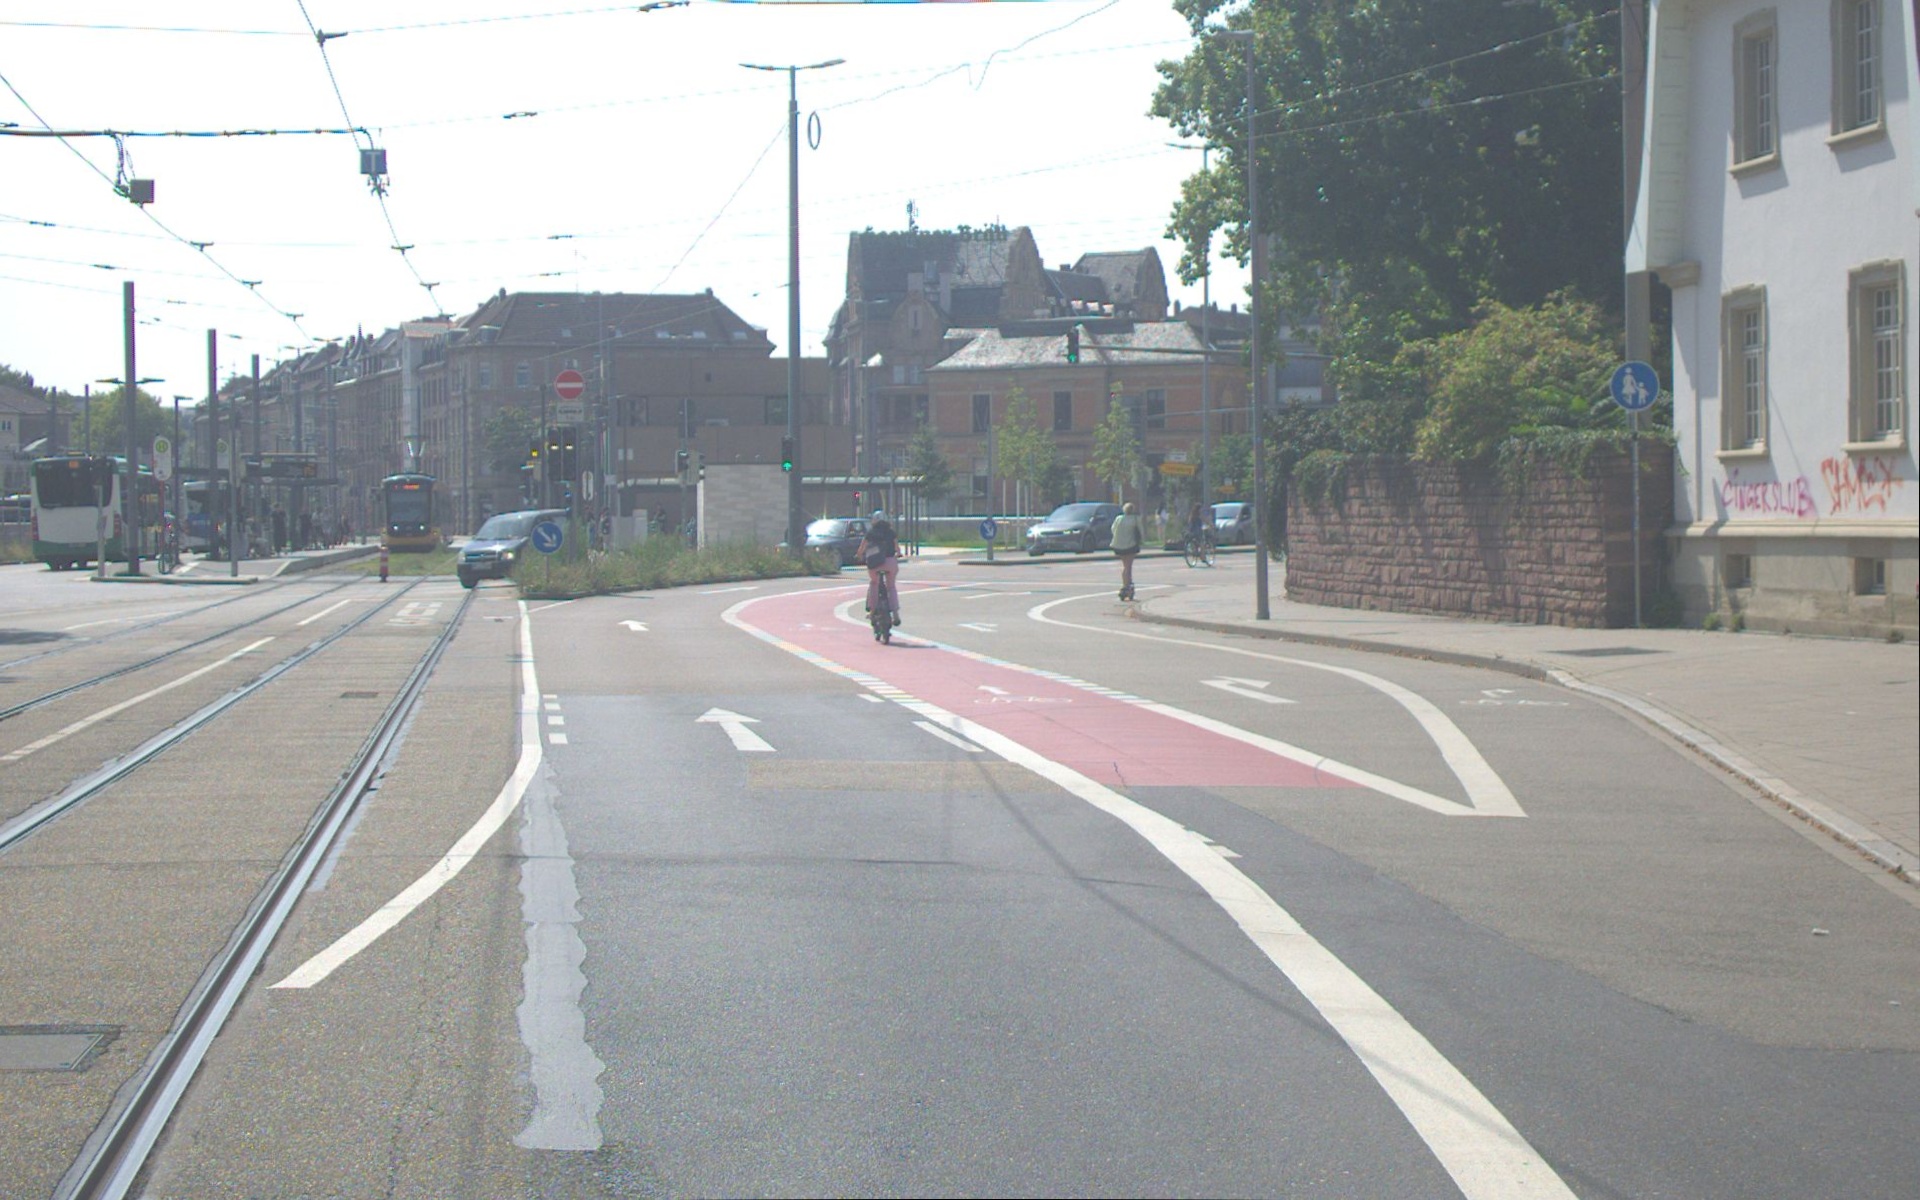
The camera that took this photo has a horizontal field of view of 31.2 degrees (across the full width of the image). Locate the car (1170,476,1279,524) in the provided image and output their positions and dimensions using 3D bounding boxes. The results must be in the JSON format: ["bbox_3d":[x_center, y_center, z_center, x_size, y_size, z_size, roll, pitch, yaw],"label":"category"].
[{"bbox_3d":[8.617,-3.246,111.706,1.654,1.525,4.317,1,2,33],"label":"car"}]

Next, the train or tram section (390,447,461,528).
[{"bbox_3d":[-24.653,-5.181,159.191,2.856,3.536,17.748,0,2,-8],"label":"train or tram section"}]

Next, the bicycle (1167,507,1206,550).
[{"bbox_3d":[5.990,-1.901,90.838,0.445,1.113,1.444,0,2,29],"label":"bicycle"}]

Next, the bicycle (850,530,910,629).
[{"bbox_3d":[-0.988,-0.263,42.158,0.604,1.159,1.811,0,2,-6],"label":"bicycle"}]

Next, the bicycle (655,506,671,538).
[{"bbox_3d":[-9.515,-2.496,110.149,0.464,1.029,1.548,0,2,-5],"label":"bicycle"}]

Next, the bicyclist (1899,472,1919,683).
[{"bbox_3d":[7.730,-0.176,26.263,0.990,1.593,0.628,-1,2,-42],"label":"bicyclist"}]

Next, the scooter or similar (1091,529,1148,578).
[{"bbox_3d":[3.149,-0.918,67.686,0.773,0.923,1.619,1,2,15],"label":"scooter or similar"}]

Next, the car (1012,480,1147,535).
[{"bbox_3d":[3.582,-2.769,102.285,1.775,1.605,4.664,1,2,35],"label":"car"}]

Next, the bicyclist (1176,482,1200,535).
[{"bbox_3d":[6.029,-2.422,90.888,0.450,1.416,0.495,0,2,29],"label":"bicyclist"}]

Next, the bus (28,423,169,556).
[{"bbox_3d":[-25.796,-3.298,103.371,2.957,3.761,10.600,0,2,-8],"label":"bus"}]

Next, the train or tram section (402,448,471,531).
[{"bbox_3d":[-26.931,-5.675,177.539,2.885,4.054,19.147,0,2,-7],"label":"train or tram section"}]

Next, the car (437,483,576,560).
[{"bbox_3d":[-10.021,-1.756,76.176,1.692,1.649,3.578,1,2,18],"label":"car"}]

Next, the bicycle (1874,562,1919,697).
[{"bbox_3d":[7.772,0.210,26.347,1.706,0.996,0.616,-1,2,-41],"label":"bicycle"}]

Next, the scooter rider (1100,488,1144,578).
[{"bbox_3d":[3.208,-1.322,67.896,0.762,1.769,0.555,0,2,16],"label":"scooter rider"}]

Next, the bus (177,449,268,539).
[{"bbox_3d":[-31.732,-4.552,148.309,2.709,3.714,10.422,0,2,-6],"label":"bus"}]

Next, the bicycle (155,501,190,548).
[{"bbox_3d":[-20.738,-2.005,90.502,0.607,1.218,1.705,0,2,-3],"label":"bicycle"}]

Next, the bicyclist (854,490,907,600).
[{"bbox_3d":[-0.980,-0.678,42.115,0.602,1.330,0.660,0,2,-6],"label":"bicyclist"}]
